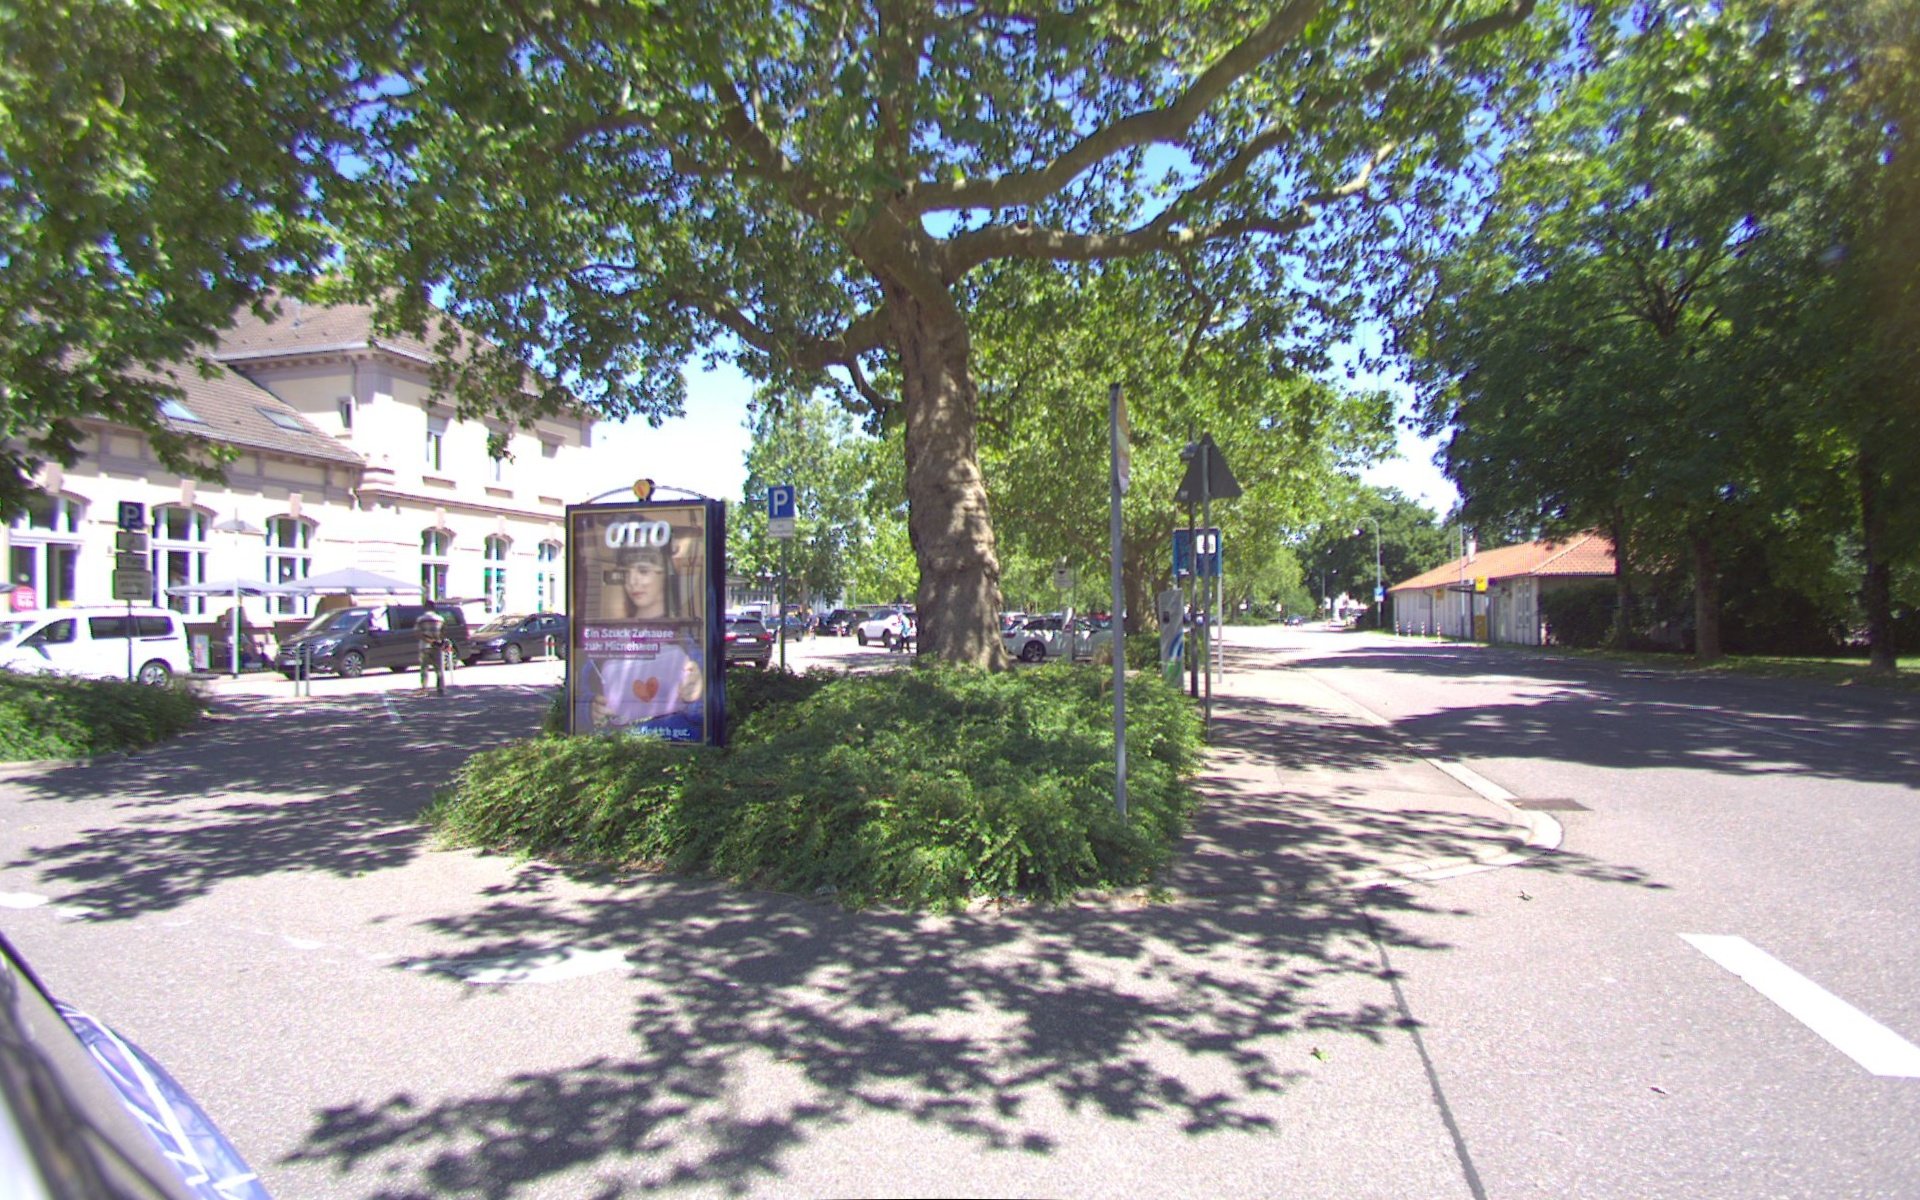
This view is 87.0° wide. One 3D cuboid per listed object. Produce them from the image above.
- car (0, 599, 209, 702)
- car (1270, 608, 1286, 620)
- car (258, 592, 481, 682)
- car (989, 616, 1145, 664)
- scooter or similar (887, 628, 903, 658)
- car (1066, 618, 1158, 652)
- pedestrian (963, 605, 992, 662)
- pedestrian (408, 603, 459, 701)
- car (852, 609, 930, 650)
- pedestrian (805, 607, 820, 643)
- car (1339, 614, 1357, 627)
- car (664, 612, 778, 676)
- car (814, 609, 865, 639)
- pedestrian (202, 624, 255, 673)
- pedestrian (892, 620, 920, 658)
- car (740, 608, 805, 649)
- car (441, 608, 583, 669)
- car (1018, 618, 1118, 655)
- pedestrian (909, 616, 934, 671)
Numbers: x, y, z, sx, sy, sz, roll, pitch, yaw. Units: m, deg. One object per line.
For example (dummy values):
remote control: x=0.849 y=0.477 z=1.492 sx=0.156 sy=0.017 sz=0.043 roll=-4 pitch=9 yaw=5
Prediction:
car: x=-18.072 y=0.990 z=20.178 sx=1.796 sy=1.880 sz=5.119 roll=-2 pitch=-2 yaw=12
car: x=46.916 y=2.046 z=149.454 sx=1.910 sy=1.677 sz=3.983 roll=-1 pitch=-1 yaw=13
car: x=-15.799 y=0.994 z=27.583 sx=2.070 sy=2.140 sz=5.809 roll=-2 pitch=-2 yaw=9
car: x=3.398 y=1.270 z=32.626 sx=4.706 sy=1.427 sz=1.788 roll=-1 pitch=-1 yaw=-4
scooter or similar: x=-2.524 y=1.661 z=39.205 sx=0.403 sy=1.110 sz=0.431 roll=-2 pitch=-2 yaw=44
car: x=6.927 y=1.577 z=46.284 sx=3.811 sy=1.471 sz=1.641 roll=0 pitch=-1 yaw=-13
pedestrian: x=0.570 y=1.073 z=32.532 sx=0.826 sy=1.784 sz=0.852 roll=-1 pitch=-1 yaw=-4
pedestrian: x=-9.543 y=0.921 z=18.332 sx=0.760 sy=1.730 sz=0.817 roll=0 pitch=-1 yaw=-32
car: x=-3.108 y=1.254 z=44.776 sx=1.770 sy=1.617 sz=4.076 roll=-2 pitch=1 yaw=-31
pedestrian: x=-8.285 y=1.390 z=56.925 sx=0.622 sy=2.005 sz=0.615 roll=-3 pitch=-1 yaw=9
car: x=56.088 y=2.964 z=146.281 sx=1.881 sy=1.788 sz=3.983 roll=-1 pitch=-1 yaw=13
car: x=-6.836 y=1.171 z=28.612 sx=1.770 sy=1.554 sz=4.543 roll=-2 pitch=1 yaw=-32
car: x=-8.138 y=1.600 z=68.622 sx=1.982 sy=1.803 sz=4.227 roll=-3 pitch=-1 yaw=15
pedestrian: x=-21.062 y=1.379 z=29.140 sx=0.872 sy=1.382 sz=0.849 roll=1 pitch=-1 yaw=10
pedestrian: x=-2.070 y=1.501 z=38.825 sx=0.690 sy=1.435 sz=0.790 roll=-2 pitch=-2 yaw=40
car: x=-9.985 y=1.517 z=54.363 sx=1.982 sy=2.005 sz=4.589 roll=-3 pitch=-1 yaw=9
car: x=-14.825 y=1.271 z=33.802 sx=2.057 sy=1.854 sz=4.826 roll=-2 pitch=-2 yaw=9
car: x=4.528 y=1.531 z=42.555 sx=3.811 sy=1.471 sz=1.641 roll=0 pitch=-1 yaw=-13
pedestrian: x=-1.111 y=1.239 z=29.255 sx=0.583 sy=1.560 sz=0.608 roll=0 pitch=-1 yaw=12
